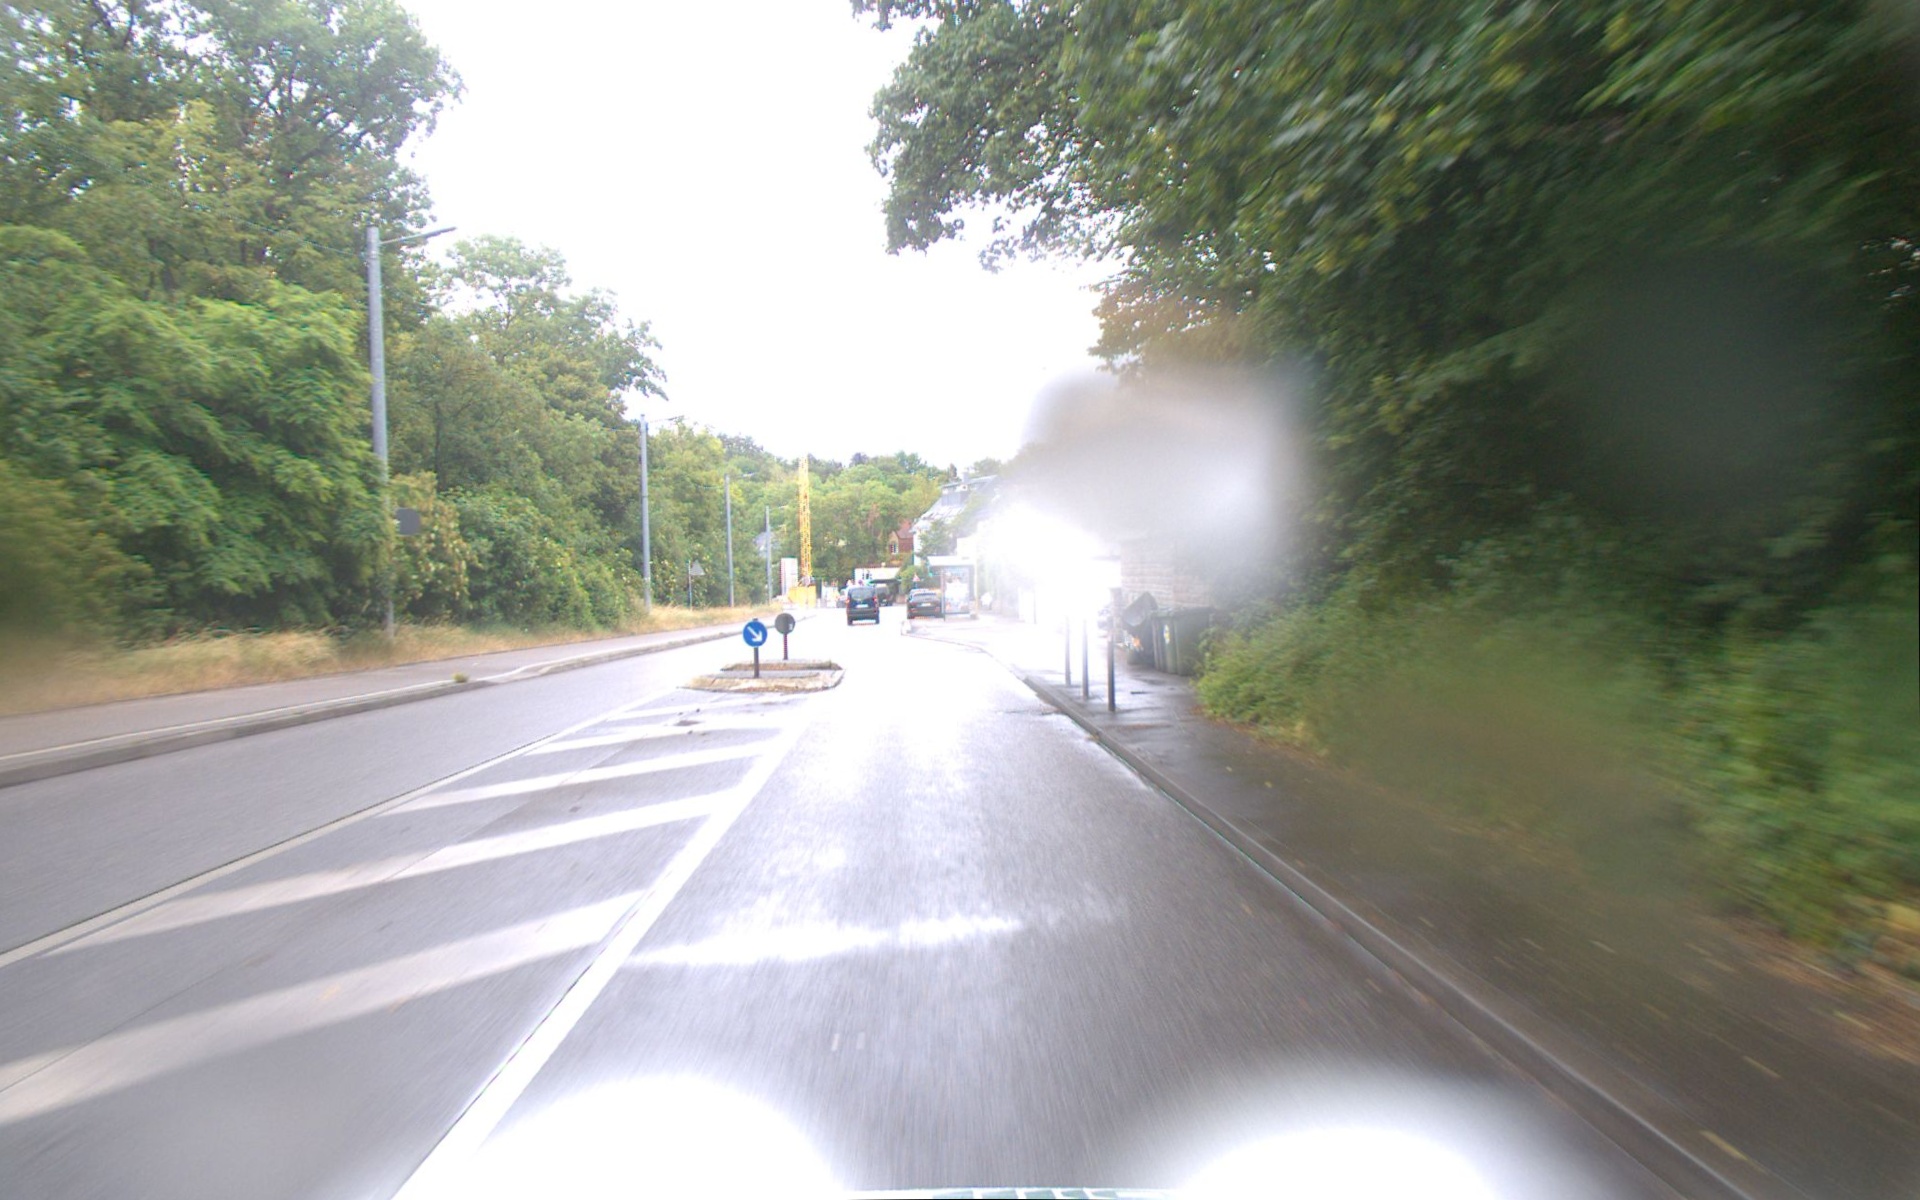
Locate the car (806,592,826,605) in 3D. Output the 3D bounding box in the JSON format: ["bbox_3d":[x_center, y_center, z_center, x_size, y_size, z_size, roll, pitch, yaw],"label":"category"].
[{"bbox_3d":[-17.709,-0.168,203.459,1.711,1.579,3.840,-1,0,-15],"label":"car"}]

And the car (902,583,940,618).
[{"bbox_3d":[-2.031,0.030,87.160,1.953,1.803,4.113,0,0,-1],"label":"car"}]

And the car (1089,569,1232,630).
[{"bbox_3d":[5.555,-0.015,46.077,3.694,1.579,1.608,-1,0,-3],"label":"car"}]

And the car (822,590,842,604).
[{"bbox_3d":[-15.343,-0.329,197.504,1.711,1.579,3.840,1,0,-15],"label":"car"}]

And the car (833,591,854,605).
[{"bbox_3d":[-13.494,-0.193,192.104,1.711,1.579,3.840,-1,0,-15],"label":"car"}]

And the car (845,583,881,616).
[{"bbox_3d":[-4.863,-0.039,83.054,1.634,1.621,3.682,-1,0,-1],"label":"car"}]
